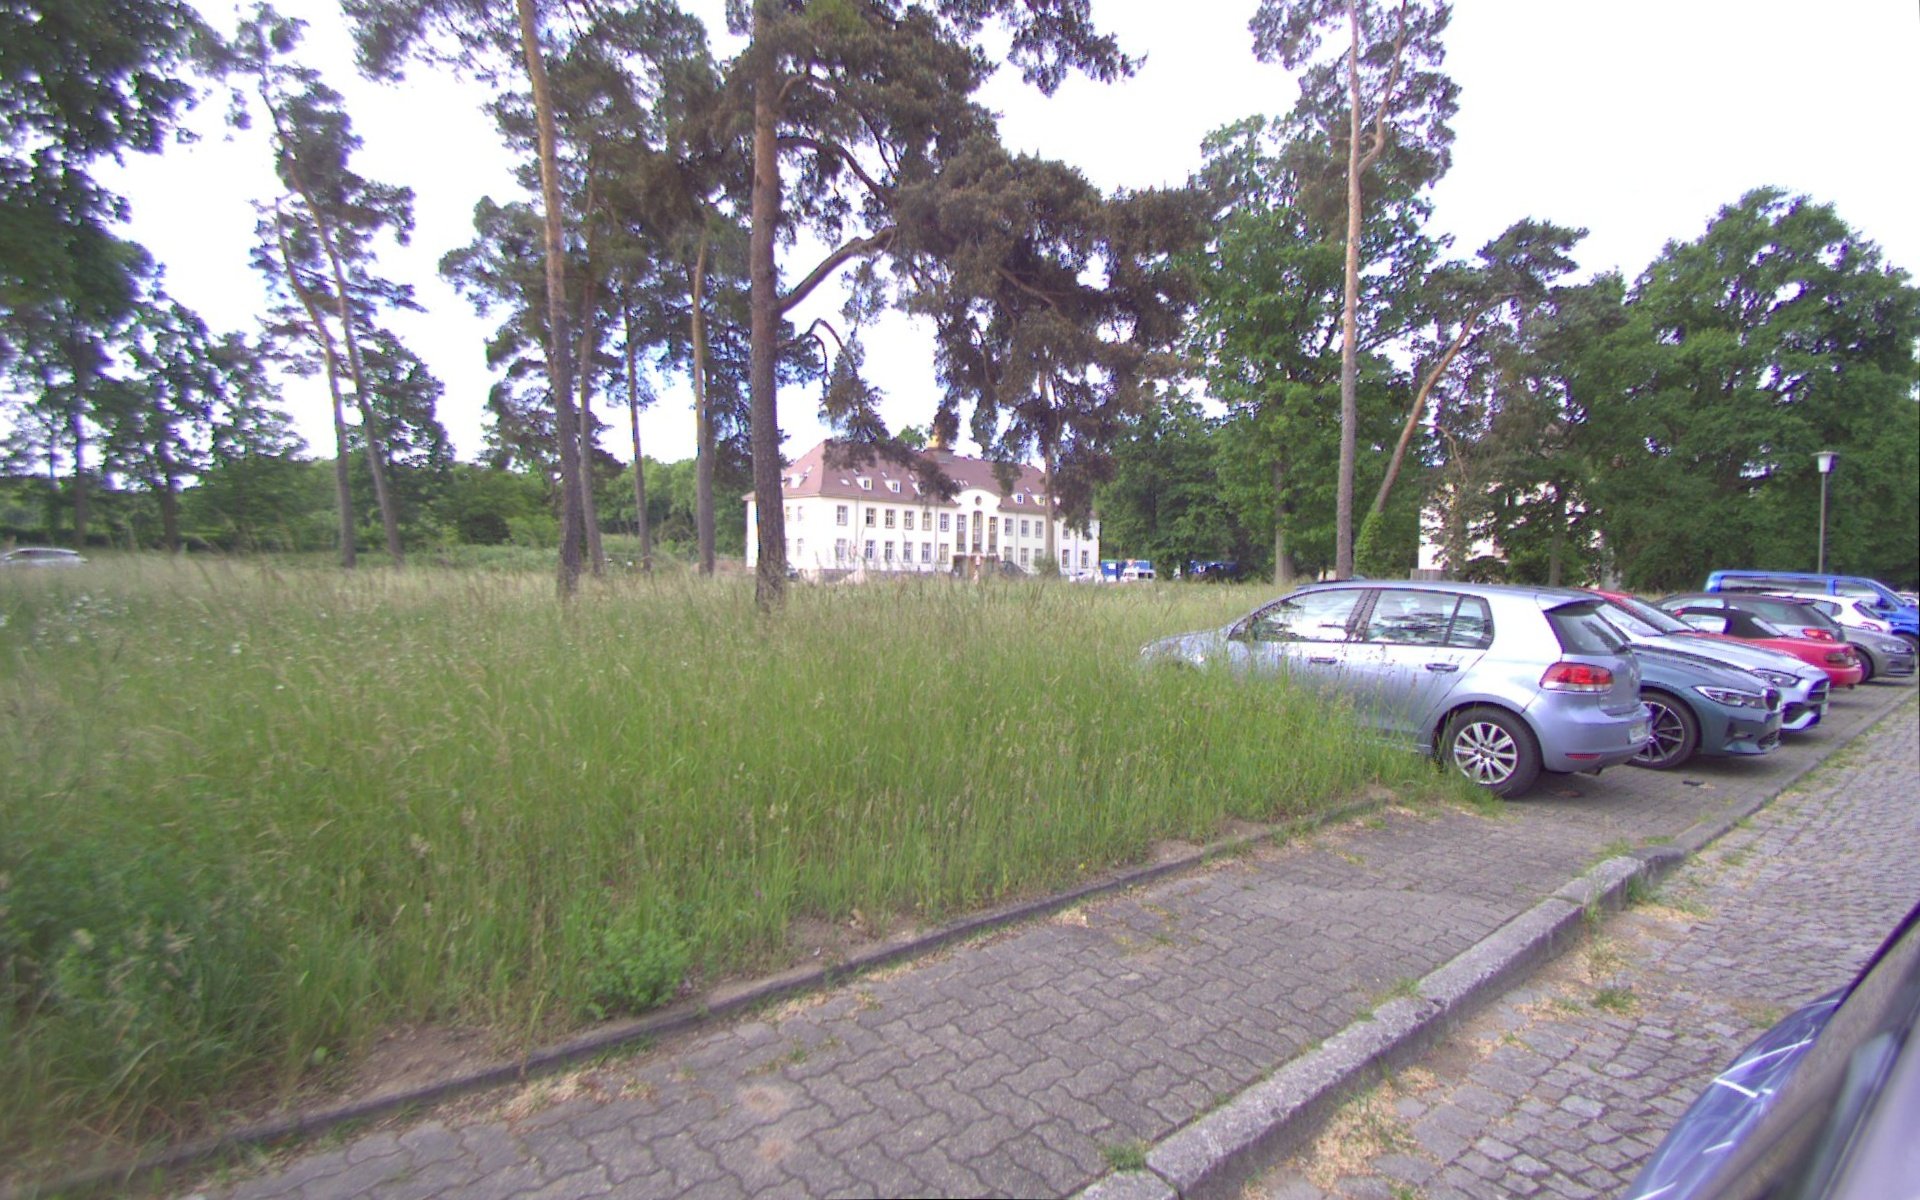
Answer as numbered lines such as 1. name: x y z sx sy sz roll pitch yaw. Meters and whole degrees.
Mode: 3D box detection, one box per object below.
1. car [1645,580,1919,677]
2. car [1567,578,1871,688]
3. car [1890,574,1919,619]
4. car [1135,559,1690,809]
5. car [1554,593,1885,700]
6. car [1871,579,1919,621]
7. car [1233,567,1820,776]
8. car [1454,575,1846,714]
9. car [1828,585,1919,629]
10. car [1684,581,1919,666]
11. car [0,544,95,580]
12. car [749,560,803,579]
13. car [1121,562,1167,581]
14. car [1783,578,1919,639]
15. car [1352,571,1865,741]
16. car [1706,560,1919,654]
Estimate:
1. car: 14.966 0.426 18.351 1.787 1.474 3.849 0 2 -39
2. car: 12.518 0.452 16.839 1.769 1.524 3.781 0 3 -43
3. car: 45.514 -0.093 46.371 1.965 2.038 3.996 0 2 -40
4. car: 3.434 0.469 8.228 1.578 1.444 3.770 0 3 -42
5. car: 10.884 0.583 14.700 1.468 1.222 3.599 0 2 -40
6. car: 42.155 0.028 43.647 1.965 1.784 4.006 0 2 -40
7. car: 5.285 0.484 10.016 1.733 1.501 4.761 0 3 -44
8. car: 8.990 0.455 13.448 1.769 1.470 3.969 0 2 -41
9. car: 34.548 0.228 37.043 1.965 1.549 3.994 0 1 -41
10. car: 16.868 0.396 20.392 1.609 1.470 3.407 0 2 -40
11. car: -38.497 -1.581 41.631 1.879 1.433 4.198 3 2 39
12. car: -19.938 -3.352 109.692 6.168 1.882 2.306 3 3 39
13. car: 19.918 -3.058 109.419 5.130 2.038 2.154 -1 2 -39
14. car: 27.190 0.232 30.035 1.965 1.630 3.995 0 2 -41
15. car: 7.338 0.473 11.928 1.781 1.501 4.766 0 2 -41
16. car: 20.824 0.115 23.968 1.966 1.962 4.746 0 3 -42
